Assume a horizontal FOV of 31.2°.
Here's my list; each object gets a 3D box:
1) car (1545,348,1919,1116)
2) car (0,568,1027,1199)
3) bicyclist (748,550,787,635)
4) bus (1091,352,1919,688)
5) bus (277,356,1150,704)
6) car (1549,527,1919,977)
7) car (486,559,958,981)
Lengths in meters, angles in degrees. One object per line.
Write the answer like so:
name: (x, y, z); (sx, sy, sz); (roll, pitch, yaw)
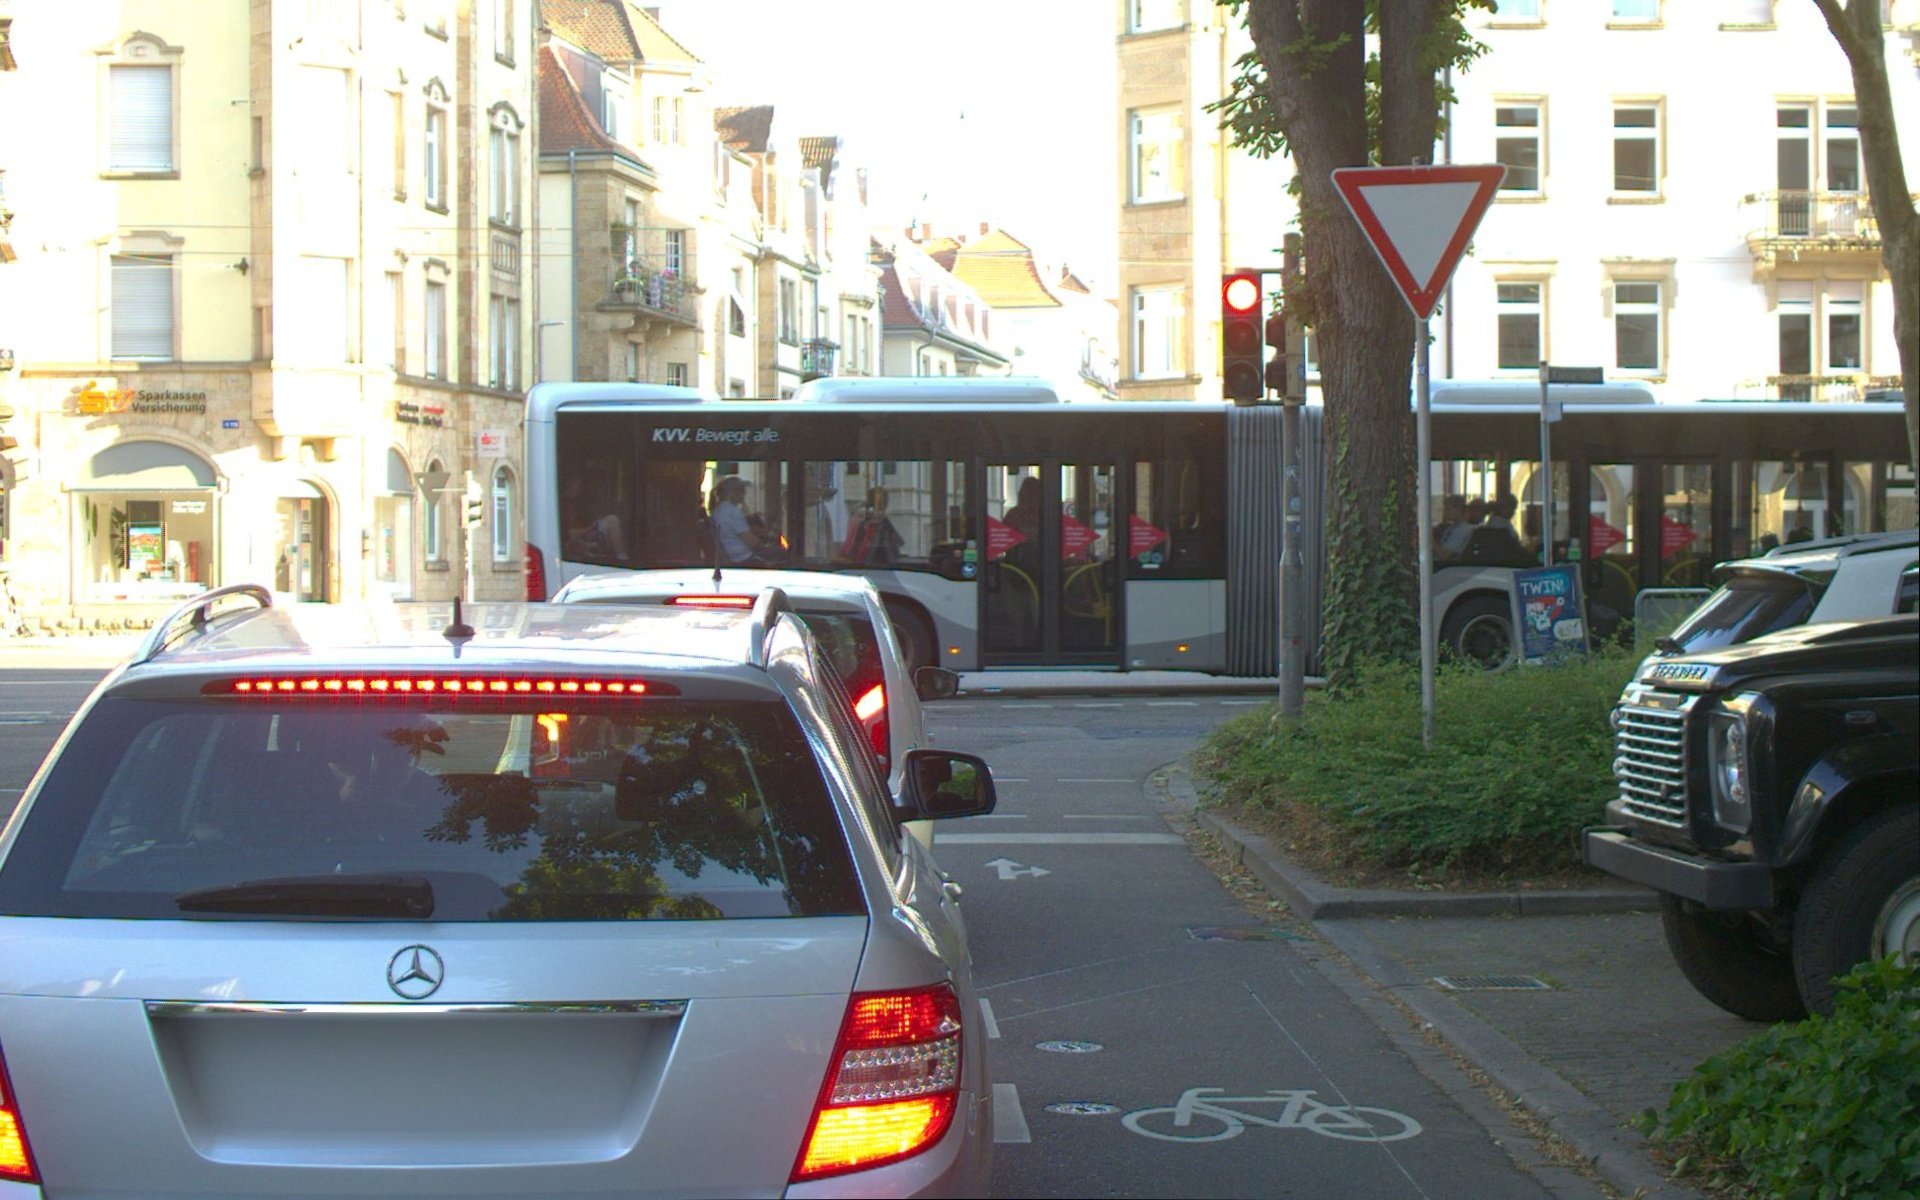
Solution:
car: (4.144, 0.296, 10.114); (4.465, 2.029, 1.701); (-1, 0, -3)
car: (-0.889, 0.676, 6.954); (1.777, 1.447, 4.548); (0, 1, -2)
bicyclist: (-3.258, -0.127, 58.142); (0.643, 1.421, 0.637); (0, 1, -5)
bus: (6.756, -0.850, 35.095); (10.450, 3.190, 2.912); (-1, 1, -8)
bus: (-2.449, -0.711, 33.790); (8.173, 3.190, 2.912); (-1, 1, -8)
car: (4.299, 0.496, 13.083); (3.723, 1.564, 1.709); (-1, 0, -4)
car: (-0.905, 0.565, 14.043); (1.619, 1.442, 4.345); (0, 1, -2)
